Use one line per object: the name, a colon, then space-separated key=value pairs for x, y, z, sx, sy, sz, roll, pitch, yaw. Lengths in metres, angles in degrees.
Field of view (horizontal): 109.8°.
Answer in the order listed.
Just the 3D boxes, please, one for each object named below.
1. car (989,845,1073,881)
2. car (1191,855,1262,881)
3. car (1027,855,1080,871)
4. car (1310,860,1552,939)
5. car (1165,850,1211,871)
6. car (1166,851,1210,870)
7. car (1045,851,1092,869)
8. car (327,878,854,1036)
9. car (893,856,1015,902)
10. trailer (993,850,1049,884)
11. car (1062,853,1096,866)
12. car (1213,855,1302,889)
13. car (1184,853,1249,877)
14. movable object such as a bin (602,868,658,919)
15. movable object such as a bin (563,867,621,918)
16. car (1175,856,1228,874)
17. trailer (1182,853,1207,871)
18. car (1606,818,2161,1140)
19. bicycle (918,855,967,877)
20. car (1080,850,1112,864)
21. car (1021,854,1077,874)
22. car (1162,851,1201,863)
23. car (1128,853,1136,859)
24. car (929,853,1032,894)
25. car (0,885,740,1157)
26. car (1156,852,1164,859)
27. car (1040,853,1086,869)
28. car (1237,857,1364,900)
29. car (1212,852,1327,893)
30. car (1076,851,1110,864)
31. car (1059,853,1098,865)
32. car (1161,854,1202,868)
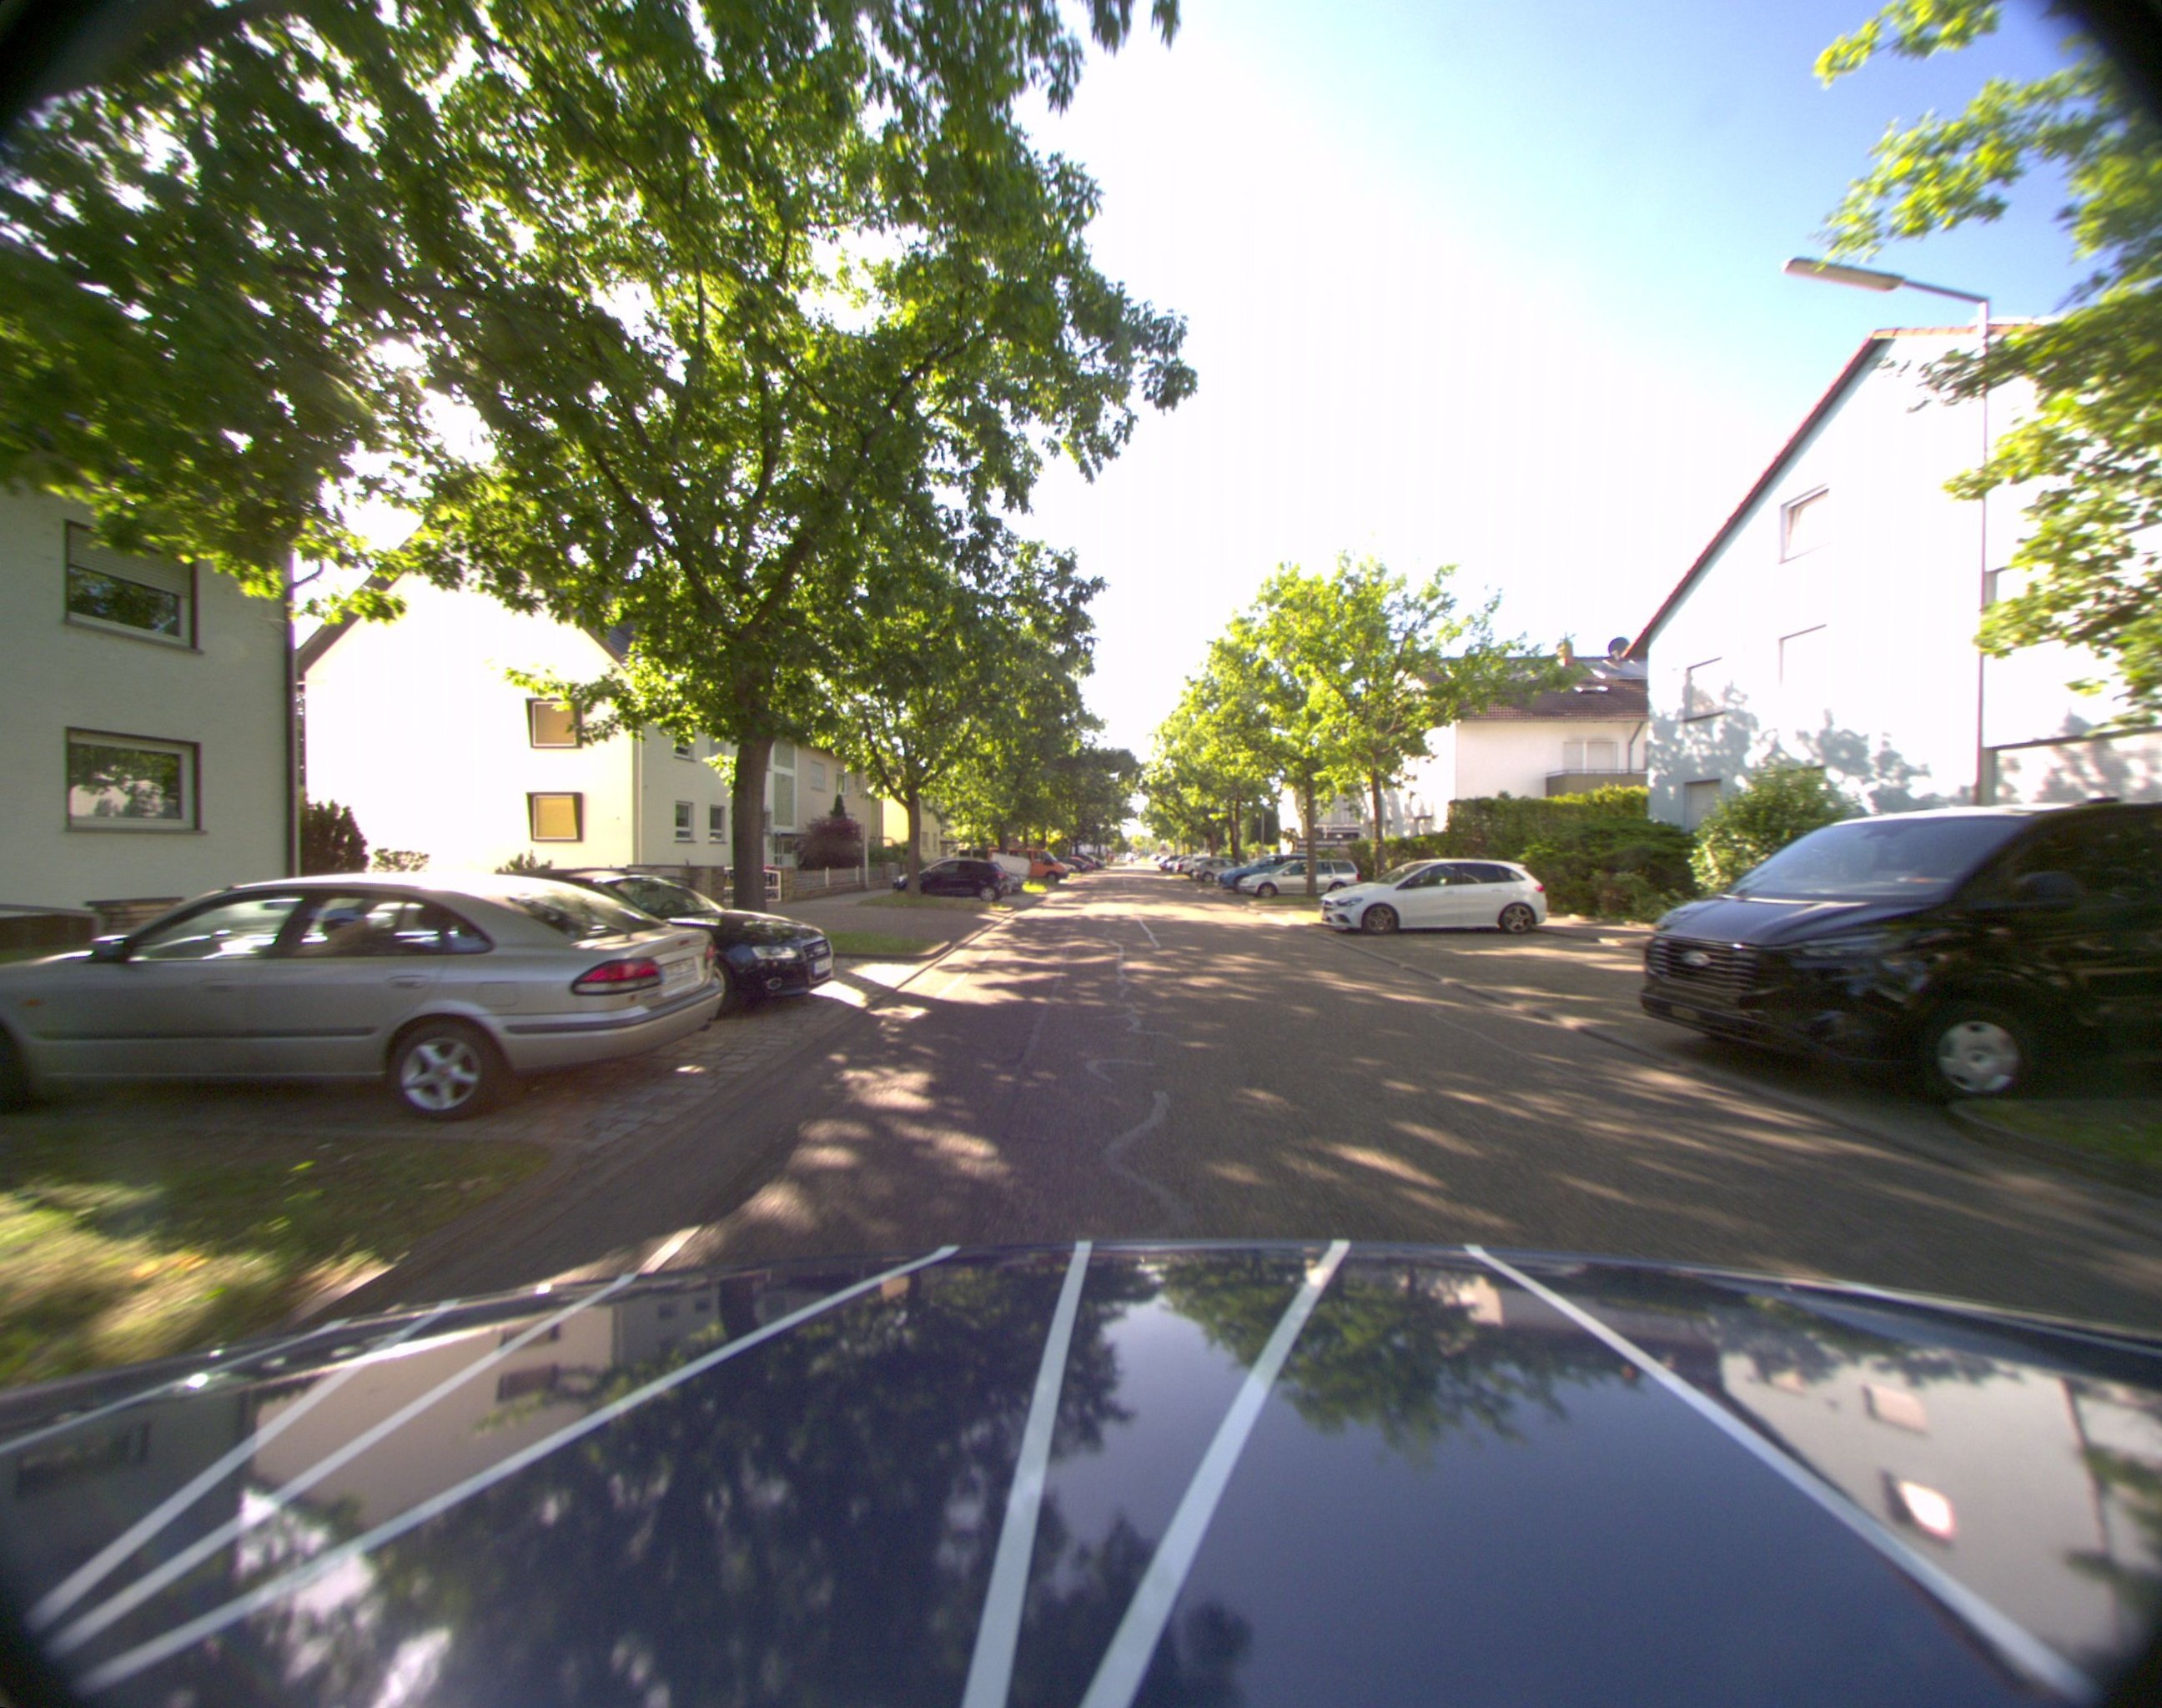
car: x=-2.952 y=0.538 z=45.849 sx=4.829 sy=2.071 sz=2.086 roll=0 pitch=1 yaw=3
car: x=8.958 y=0.858 z=47.089 sx=4.043 sy=1.415 sz=1.810 roll=-2 pitch=0 yaw=2
car: x=-2.393 y=0.799 z=67.115 sx=4.436 sy=1.323 sz=1.691 roll=0 pitch=0 yaw=6
car: x=7.249 y=0.923 z=16.058 sx=4.286 sy=1.469 sz=1.769 roll=-1 pitch=0 yaw=2
car: x=10.581 y=0.633 z=75.338 sx=4.246 sy=1.933 sz=2.000 roll=0 pitch=1 yaw=1
car: x=10.937 y=0.656 z=77.829 sx=4.249 sy=1.760 sz=1.967 roll=-1 pitch=1 yaw=1
car: x=-1.268 y=0.627 z=77.333 sx=4.583 sy=1.637 sz=1.838 roll=2 pitch=1 yaw=4
car: x=-4.870 y=0.985 z=8.011 sx=4.356 sy=1.355 sz=1.874 roll=0 pitch=0 yaw=2
car: x=-4.364 y=0.845 z=26.361 sx=3.891 sy=1.507 sz=1.661 roll=0 pitch=0 yaw=3
trailer: x=-3.229 y=0.687 z=41.214 sx=2.954 sy=1.654 sz=1.614 roll=2 pitch=1 yaw=-3
car: x=-0.231 y=0.665 z=88.160 sx=3.785 sy=1.475 sz=1.756 roll=0 pitch=0 yaw=5
car: x=8.652 y=0.848 z=37.468 sx=3.996 sy=1.586 sz=1.858 roll=0 pitch=0 yaw=3
car: x=9.309 y=0.749 z=52.442 sx=4.196 sy=1.558 sz=1.792 roll=-2 pitch=0 yaw=5
movable object such as a bin: x=-10.339 y=0.901 z=17.443 sx=0.704 sy=1.105 sz=0.906 roll=0 pitch=2 yaw=1
movable object such as a bin: x=-11.198 y=0.865 z=17.418 sx=0.704 sy=1.092 sz=0.906 roll=0 pitch=2 yaw=1
car: x=9.899 y=0.918 z=62.551 sx=4.219 sy=1.463 sz=1.691 roll=0 pitch=1 yaw=6
trailer: x=10.514 y=0.709 z=70.432 sx=2.240 sy=1.664 sz=1.475 roll=0 pitch=0 yaw=8
car: x=6.954 y=0.732 z=5.574 sx=4.791 sy=1.905 sz=2.018 roll=-1 pitch=0 yaw=0
bicycle: x=-8.548 y=0.721 z=46.919 sx=2.865 sy=1.230 sz=0.468 roll=2 pitch=2 yaw=4
car: x=2.050 y=0.398 z=102.793 sx=4.220 sy=1.771 sz=1.790 roll=0 pitch=1 yaw=5
car: x=-2.564 y=0.797 z=61.945 sx=4.348 sy=1.551 sz=1.868 roll=1 pitch=1 yaw=3
car: x=11.970 y=0.350 z=90.452 sx=4.283 sy=1.416 sz=1.723 roll=-1 pitch=0 yaw=-4
car: x=12.768 y=0.391 z=189.768 sx=1.943 sy=1.412 sz=4.001 roll=0 pitch=1 yaw=6
car: x=-4.106 y=0.795 z=31.473 sx=3.997 sy=1.614 sz=1.757 roll=0 pitch=0 yaw=0
car: x=-4.848 y=0.967 z=5.103 sx=4.288 sy=1.406 sz=1.796 roll=1 pitch=0 yaw=-2
car: x=19.543 y=0.368 z=188.035 sx=1.740 sy=1.532 sz=3.949 roll=0 pitch=0 yaw=10
car: x=-1.739 y=0.683 z=74.449 sx=4.329 sy=1.521 sz=1.841 roll=0 pitch=0 yaw=3
car: x=7.996 y=0.879 z=27.959 sx=4.192 sy=1.483 sz=1.647 roll=-1 pitch=1 yaw=2
car: x=8.058 y=0.766 z=32.755 sx=4.534 sy=1.622 sz=1.938 roll=-1 pitch=1 yaw=4
car: x=1.708 y=0.505 z=106.167 sx=4.512 sy=1.670 sz=1.879 roll=0 pitch=1 yaw=6
car: x=-0.291 y=0.613 z=93.014 sx=4.512 sy=1.437 sz=1.839 roll=1 pitch=1 yaw=5
car: x=11.213 y=0.748 z=85.006 sx=4.487 sy=1.491 sz=1.837 roll=0 pitch=0 yaw=3
